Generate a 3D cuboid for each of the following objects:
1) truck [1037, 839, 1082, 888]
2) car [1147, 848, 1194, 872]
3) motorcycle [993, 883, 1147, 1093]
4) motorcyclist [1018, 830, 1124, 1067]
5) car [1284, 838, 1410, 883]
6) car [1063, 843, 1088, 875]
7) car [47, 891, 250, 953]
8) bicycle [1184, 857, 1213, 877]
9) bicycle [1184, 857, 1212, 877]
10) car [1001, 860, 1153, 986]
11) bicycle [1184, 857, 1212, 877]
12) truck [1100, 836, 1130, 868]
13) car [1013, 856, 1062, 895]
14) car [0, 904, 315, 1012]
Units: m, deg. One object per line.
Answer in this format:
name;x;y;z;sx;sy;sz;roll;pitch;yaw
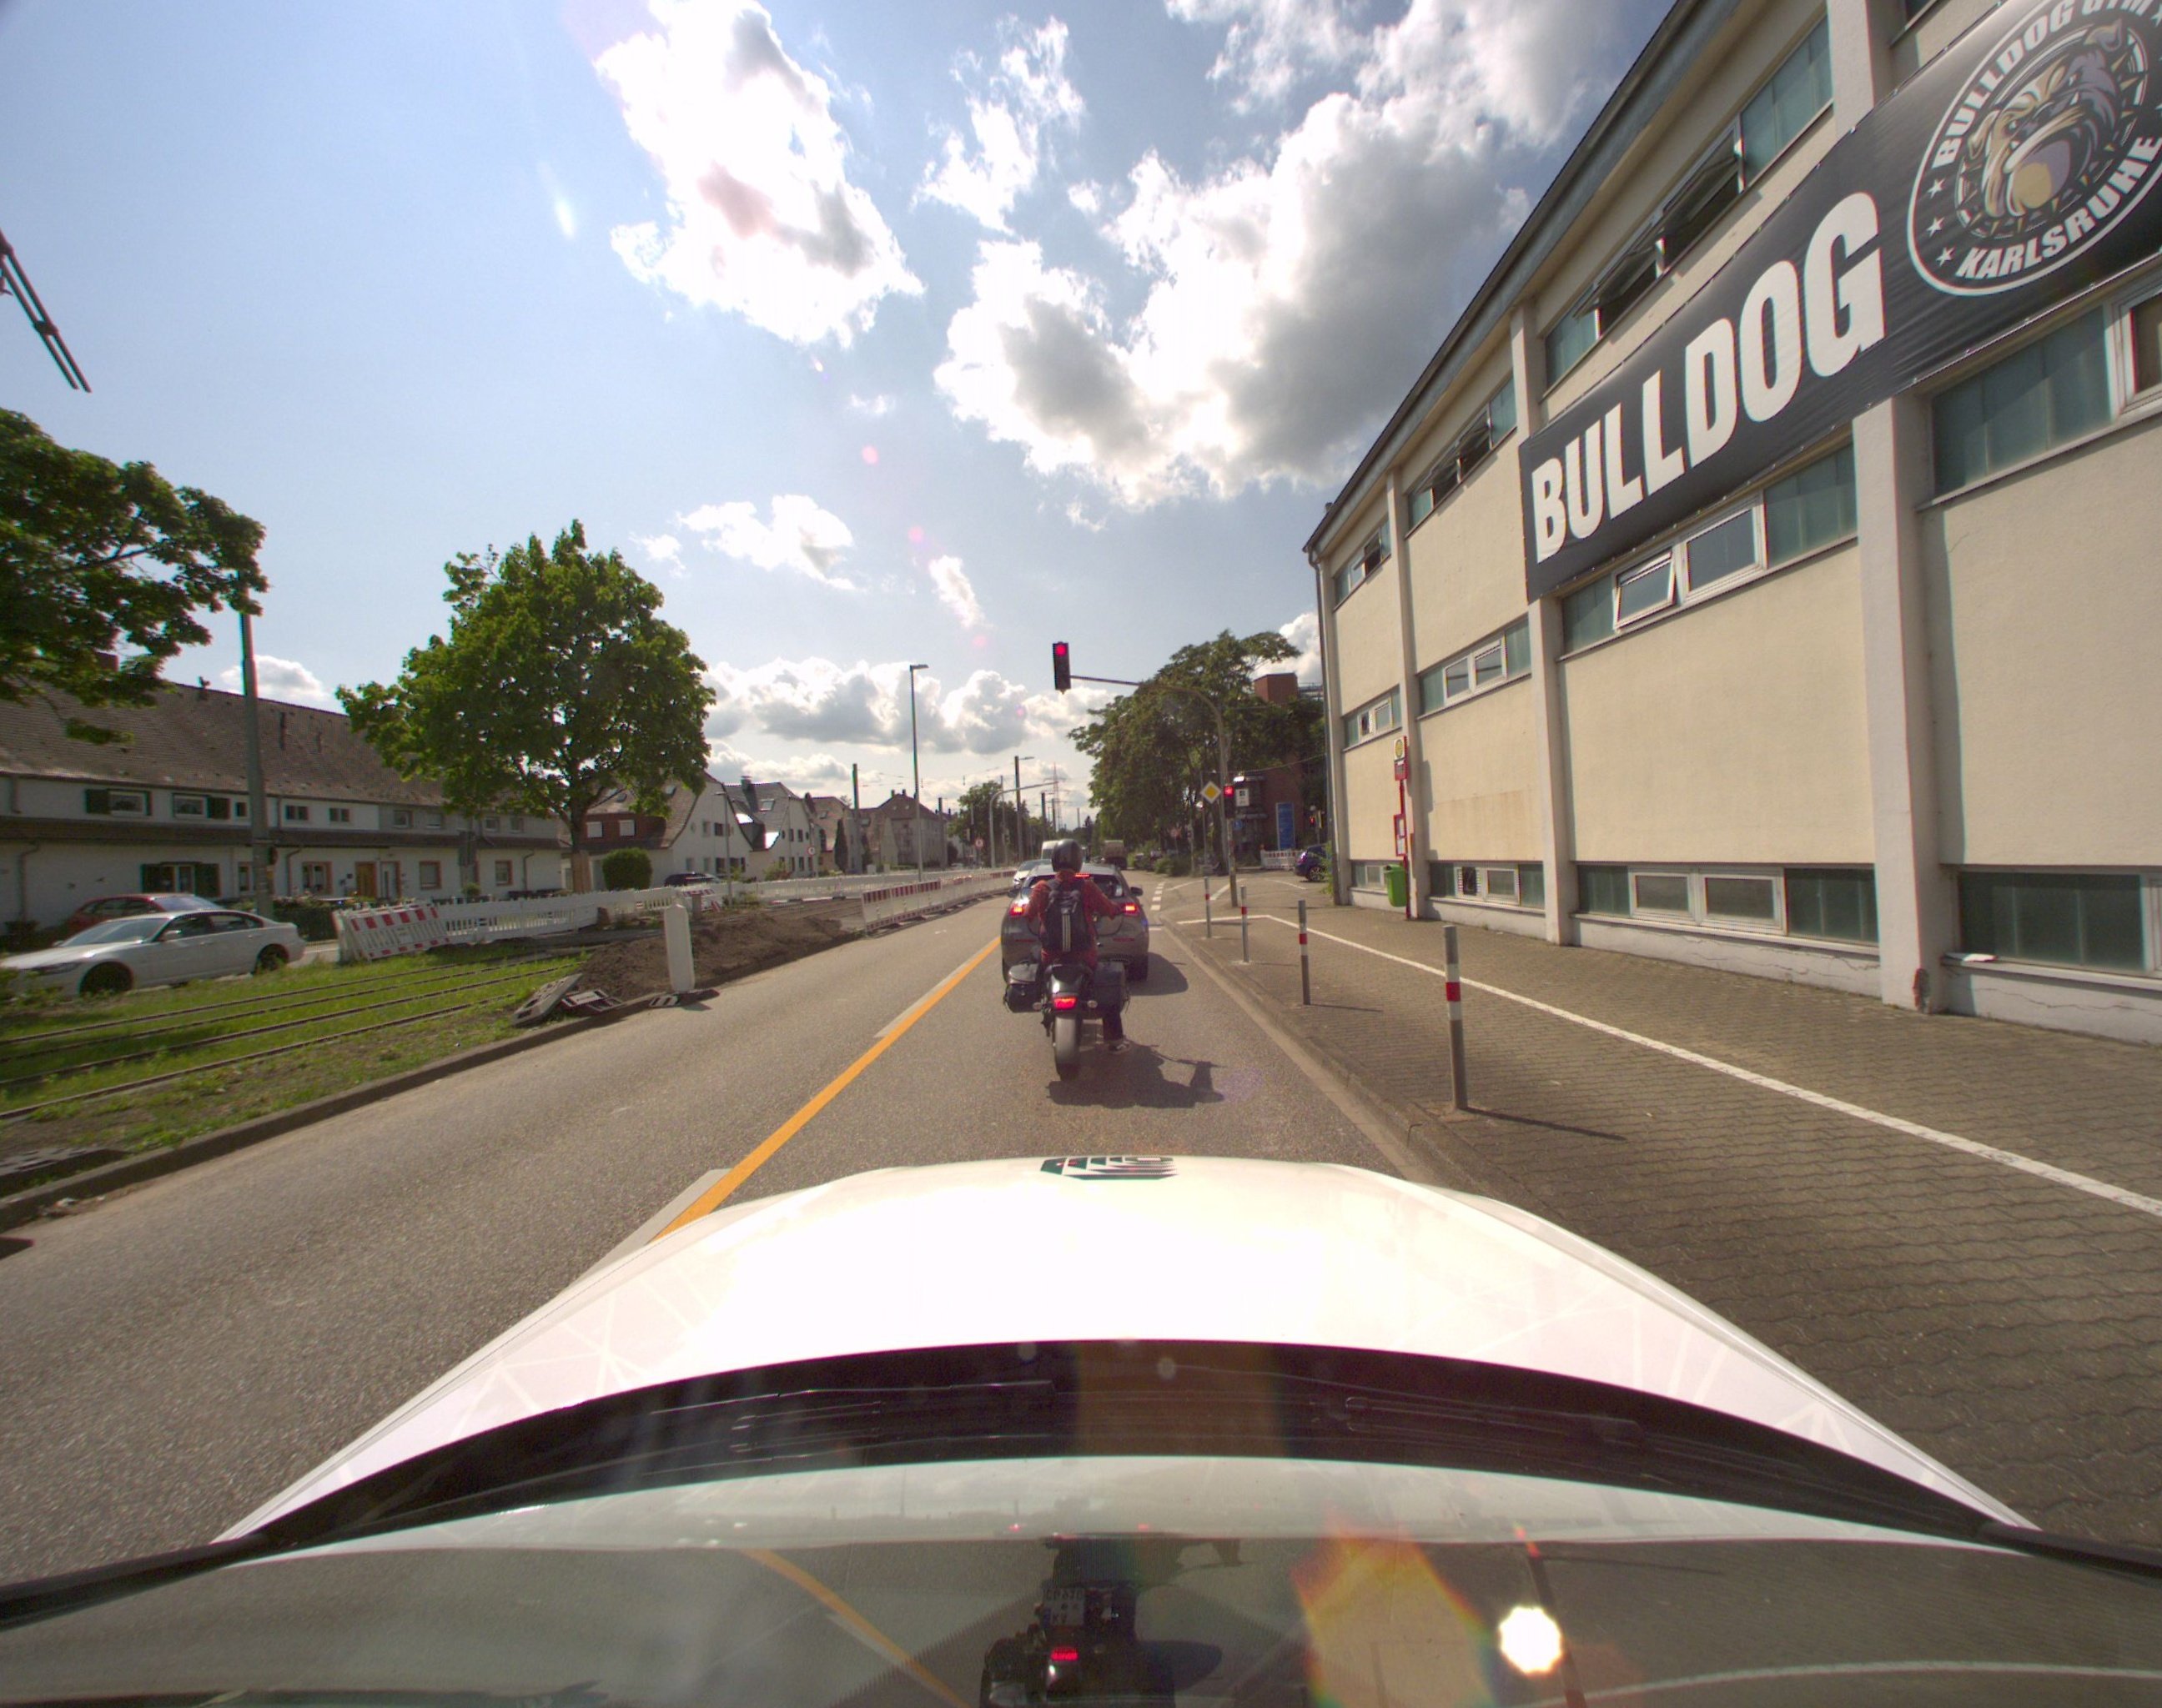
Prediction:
truck;-1.140;0.454;45.756;2.085;2.476;5.198;-4;1;2
car;7.694;0.504;69.854;4.023;1.926;1.781;0;-1;-44
motorcycle;-0.041;0.875;6.294;0.939;1.200;2.473;-1;0;1
motorcyclist;-0.062;0.646;5.891;0.696;1.604;0.692;-1;-1;1
car;10.021;0.236;30.891;4.234;1.498;1.652;-2;0;5
car;-0.388;0.354;57.331;1.583;2.143;3.628;-1;-1;2
car;-27.875;2.013;24.441;3.974;1.509;1.725;-3;0;-1
bicycle;7.138;0.801;49.445;1.699;1.172;0.438;-1;-1;6
bicycle;7.180;0.809;50.042;1.699;1.172;0.438;-1;-1;6
car;-0.156;0.795;11.323;1.728;1.403;4.081;-1;0;-3
bicycle;7.319;0.817;50.786;1.699;1.172;0.438;-1;-1;6
truck;3.720;-0.175;87.172;2.954;3.173;7.771;-1;-1;4
car;-1.796;0.891;34.757;1.738;1.437;4.084;-4;-1;1
car;-16.441;1.737;14.609;1.538;1.376;4.245;-3;0;-5
